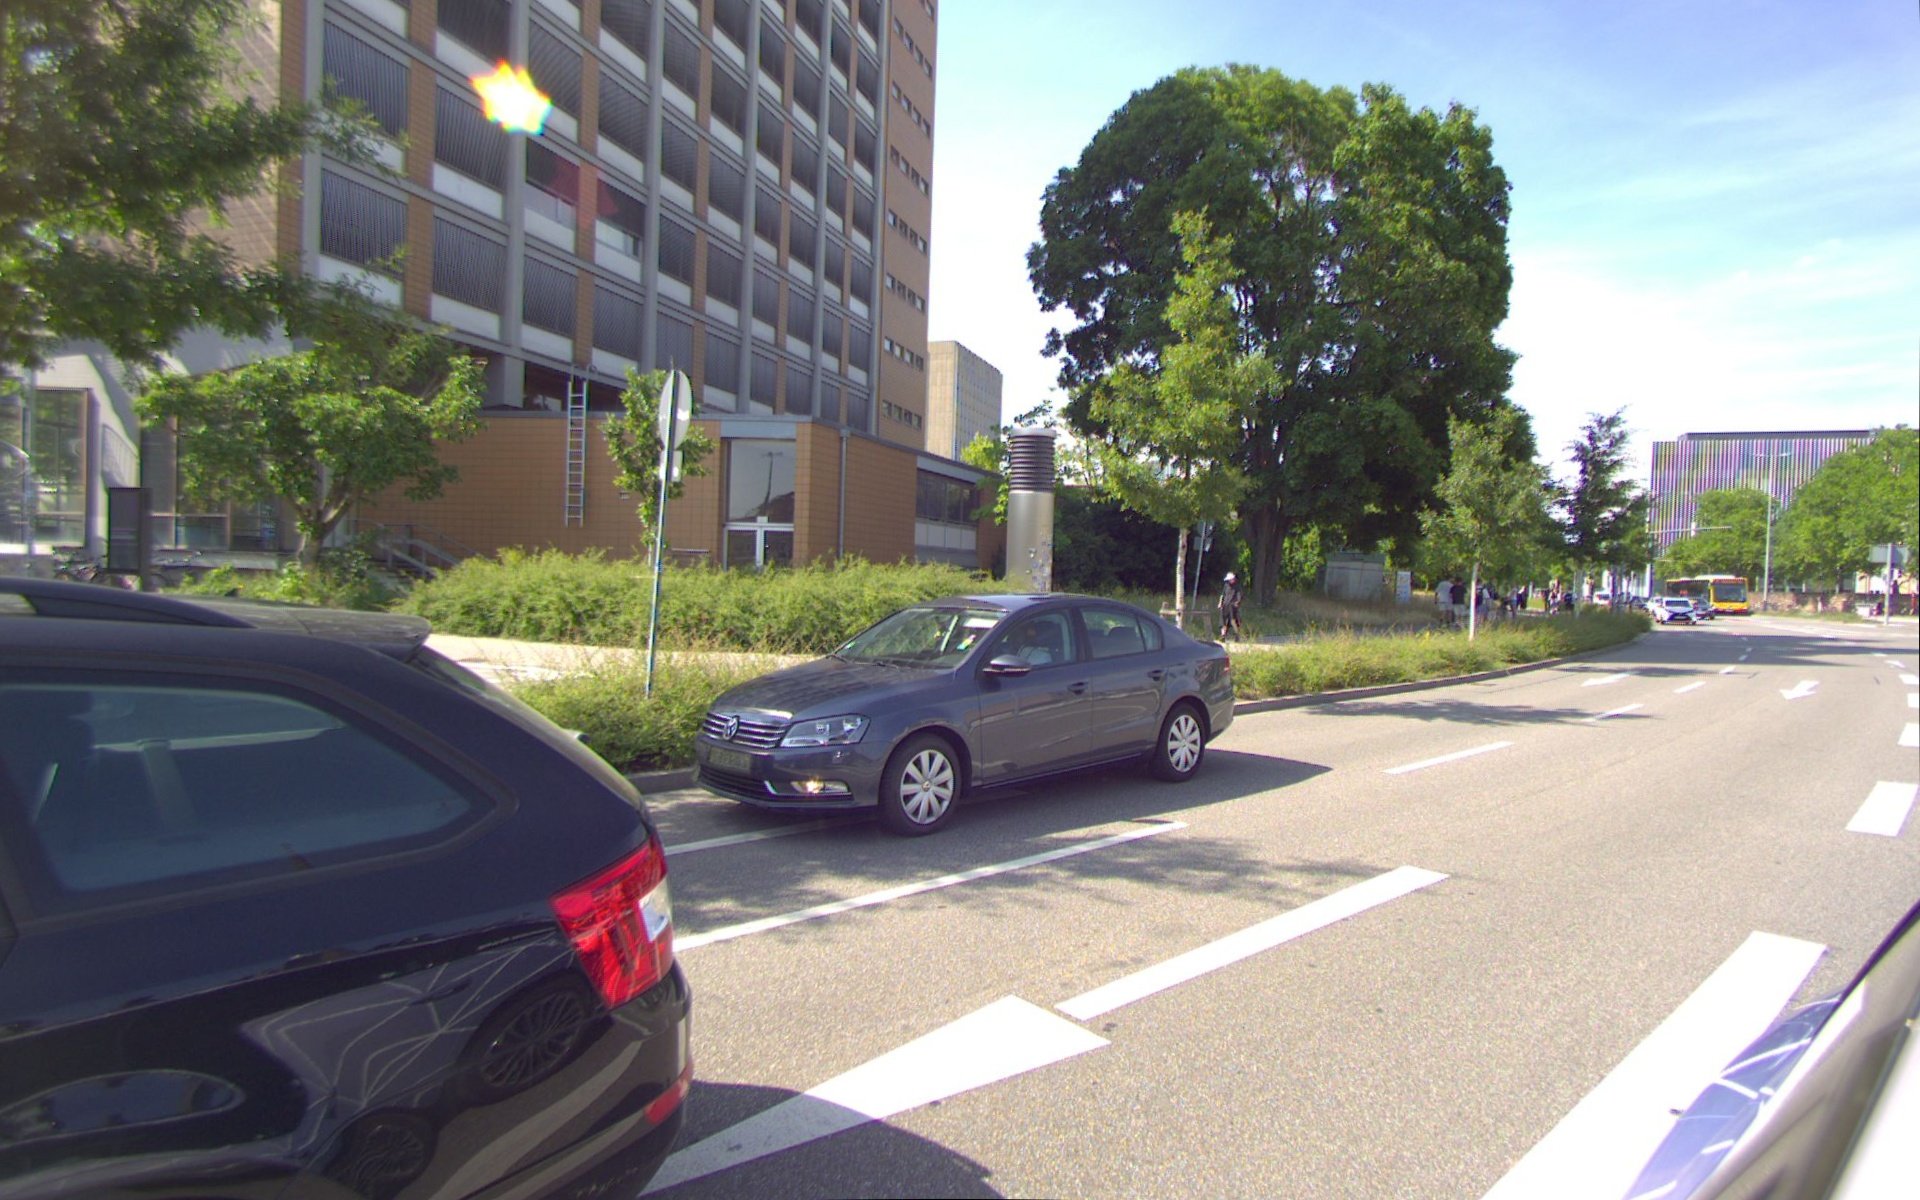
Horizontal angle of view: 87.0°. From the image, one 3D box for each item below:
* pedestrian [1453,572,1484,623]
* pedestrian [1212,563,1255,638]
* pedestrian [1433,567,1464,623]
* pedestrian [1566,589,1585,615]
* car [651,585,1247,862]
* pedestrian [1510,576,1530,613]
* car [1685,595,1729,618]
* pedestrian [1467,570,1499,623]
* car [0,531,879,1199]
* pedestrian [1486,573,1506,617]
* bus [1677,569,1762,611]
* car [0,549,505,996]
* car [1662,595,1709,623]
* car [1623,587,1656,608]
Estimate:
[{"bbox_3d":[17.008,-0.083,33.868,0.719,1.646,0.643,0,3,-41],"label":"pedestrian"},{"bbox_3d":[6.383,0.005,23.617,0.719,1.684,0.592,0,3,-41],"label":"pedestrian"},{"bbox_3d":[16.581,-0.191,34.377,0.719,1.860,0.643,0,3,-41],"label":"pedestrian"},{"bbox_3d":[27.923,0.075,45.906,0.639,1.145,0.743,4,3,33],"label":"pedestrian"},{"bbox_3d":[0.179,0.623,7.464,4.451,1.453,1.633,-1,1,-42],"label":"car"},{"bbox_3d":[23.107,-0.222,41.770,0.638,1.464,0.564,3,3,29],"label":"pedestrian"},{"bbox_3d":[49.396,0.418,66.967,1.635,1.442,4.083,0,0,26],"label":"car"},{"bbox_3d":[17.378,-0.123,33.659,0.739,1.694,0.643,0,3,-41],"label":"pedestrian"},{"bbox_3d":[-2.444,0.642,1.093,4.698,1.453,1.633,-1,1,-42],"label":"car"},{"bbox_3d":[22.344,-0.234,42.171,0.638,1.785,0.470,3,3,29],"label":"pedestrian"},{"bbox_3d":[61.621,-0.845,82.473,2.767,3.076,12.050,2,1,24],"label":"bus"},{"bbox_3d":[-4.116,0.566,3.520,4.323,1.448,1.702,1,-2,-43],"label":"car"},{"bbox_3d":[40.499,0.483,56.559,1.667,1.493,3.723,0,0,28],"label":"car"},{"bbox_3d":[46.703,-0.199,69.582,1.396,1.311,3.548,2,2,27],"label":"car"}]
